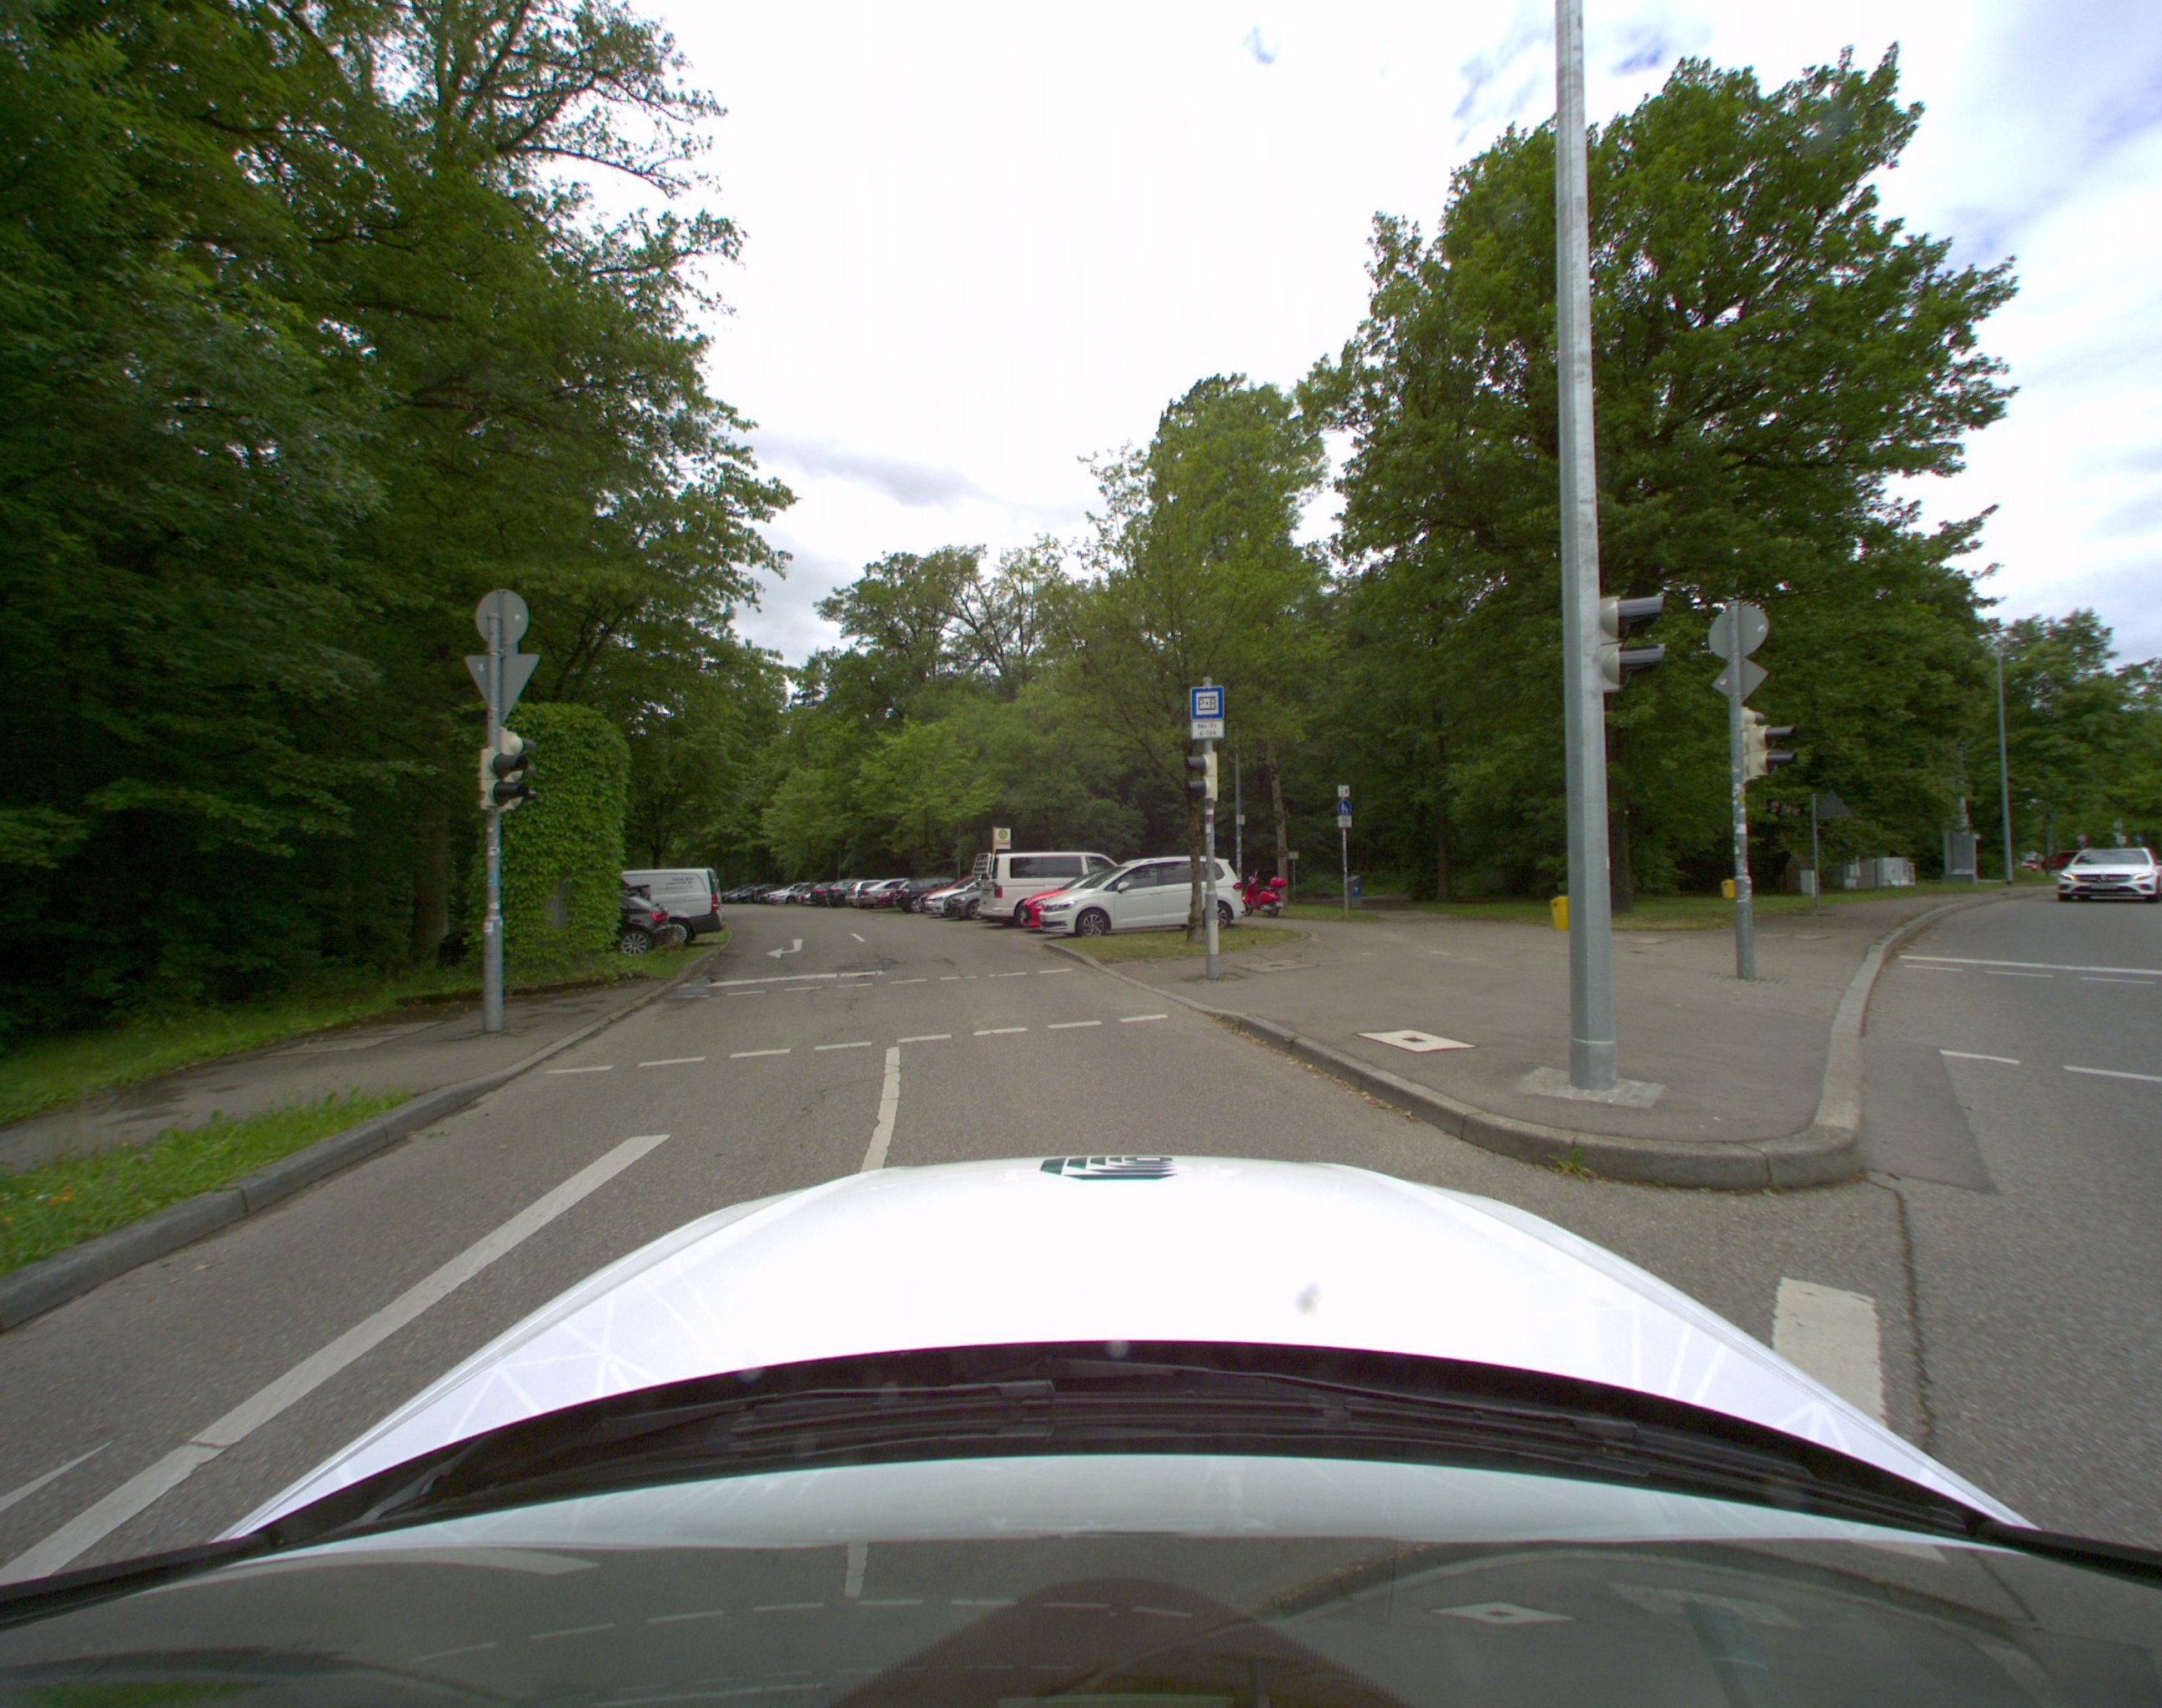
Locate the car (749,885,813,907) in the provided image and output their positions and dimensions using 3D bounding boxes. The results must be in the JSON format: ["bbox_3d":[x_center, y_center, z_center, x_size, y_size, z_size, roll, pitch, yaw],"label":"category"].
[{"bbox_3d":[-22.726,3.151,61.756,4.221,1.512,1.871,-1,-2,-38],"label":"car"}]

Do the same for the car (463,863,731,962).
[{"bbox_3d":[-11.077,1.292,19.151,5.106,1.915,1.964,-2,-2,-22],"label":"car"}]

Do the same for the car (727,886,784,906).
[{"bbox_3d":[-27.094,3.529,67.874,4.018,1.475,1.930,-1,-2,-37],"label":"car"}]

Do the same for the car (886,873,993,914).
[{"bbox_3d":[-5.924,1.621,34.006,4.008,1.483,1.905,-2,-2,-26],"label":"car"}]

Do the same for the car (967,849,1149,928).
[{"bbox_3d":[-0.640,0.909,22.653,4.668,2.021,2.067,1,-1,-23],"label":"car"}]

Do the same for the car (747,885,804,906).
[{"bbox_3d":[-24.012,3.246,64.064,3.857,1.457,1.788,-2,-2,-36],"label":"car"}]

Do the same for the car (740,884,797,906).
[{"bbox_3d":[-25.273,3.282,65.887,3.858,1.531,1.830,-2,-2,-38],"label":"car"}]

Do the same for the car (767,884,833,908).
[{"bbox_3d":[-19.856,2.940,57.647,4.008,1.484,1.862,-1,-2,-38],"label":"car"}]

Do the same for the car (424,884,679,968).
[{"bbox_3d":[-10.407,1.370,16.376,4.003,1.379,1.709,-1,-1,-22],"label":"car"}]

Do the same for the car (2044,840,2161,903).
[{"bbox_3d":[31.442,0.516,24.798,4.592,1.750,1.981,1,0,-30],"label":"car"}]

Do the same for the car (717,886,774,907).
[{"bbox_3d":[-28.687,3.615,69.630,4.023,1.552,1.951,0,-3,-44],"label":"car"}]

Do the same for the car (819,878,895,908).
[{"bbox_3d":[-12.878,2.211,46.796,3.793,1.590,1.930,-1,-2,-31],"label":"car"}]

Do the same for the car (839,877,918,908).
[{"bbox_3d":[-11.177,2.111,44.954,3.869,1.546,1.712,-1,-2,-32],"label":"car"}]

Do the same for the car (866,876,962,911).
[{"bbox_3d":[-7.904,1.863,38.619,4.012,1.450,1.922,-1,-2,-30],"label":"car"}]

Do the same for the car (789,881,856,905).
[{"bbox_3d":[-17.070,2.561,53.833,3.827,1.441,1.848,-1,-2,-42],"label":"car"}]

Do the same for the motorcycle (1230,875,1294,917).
[{"bbox_3d":[5.231,1.193,23.664,0.678,1.160,1.993,-1,-1,-29],"label":"motorcycle"}]

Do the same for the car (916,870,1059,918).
[{"bbox_3d":[-3.384,1.411,29.445,4.792,1.476,1.838,-1,-1,-23],"label":"car"}]

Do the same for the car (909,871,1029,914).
[{"bbox_3d":[-4.392,1.486,31.929,4.251,1.480,1.902,-1,-2,-26],"label":"car"}]

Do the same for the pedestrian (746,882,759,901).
[{"bbox_3d":[-30.892,3.503,76.535,0.824,1.726,0.992,0,-3,-41],"label":"pedestrian"}]

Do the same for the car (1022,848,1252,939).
[{"bbox_3d":[1.179,0.822,17.845,4.531,1.693,2.152,-2,-2,-17],"label":"car"}]

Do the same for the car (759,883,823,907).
[{"bbox_3d":[-21.255,2.988,59.733,4.037,1.559,1.956,-1,-2,-34],"label":"car"}]

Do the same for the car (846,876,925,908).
[{"bbox_3d":[-10.323,1.999,43.002,3.725,1.511,1.734,-1,-3,-30],"label":"car"}]

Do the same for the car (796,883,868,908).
[{"bbox_3d":[-15.712,2.595,51.439,3.960,1.411,1.858,-1,-2,-34],"label":"car"}]

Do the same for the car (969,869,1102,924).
[{"bbox_3d":[-1.414,1.272,25.239,3.740,1.555,1.831,1,0,-24],"label":"car"}]

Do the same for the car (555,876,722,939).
[{"bbox_3d":[-13.843,1.630,25.827,4.445,1.695,2.153,-1,-1,-24],"label":"car"}]

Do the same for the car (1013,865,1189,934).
[{"bbox_3d":[0.454,1.071,20.198,4.005,1.555,1.936,0,-1,-16],"label":"car"}]

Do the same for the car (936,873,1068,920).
[{"bbox_3d":[-2.653,1.405,27.201,4.005,1.484,1.862,1,-4,-24],"label":"car"}]

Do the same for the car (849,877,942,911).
[{"bbox_3d":[-9.303,1.978,40.867,4.151,1.461,1.848,-2,-2,-28],"label":"car"}]

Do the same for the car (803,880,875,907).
[{"bbox_3d":[-14.531,2.357,48.929,3.796,1.481,1.754,-1,-2,-35],"label":"car"}]
